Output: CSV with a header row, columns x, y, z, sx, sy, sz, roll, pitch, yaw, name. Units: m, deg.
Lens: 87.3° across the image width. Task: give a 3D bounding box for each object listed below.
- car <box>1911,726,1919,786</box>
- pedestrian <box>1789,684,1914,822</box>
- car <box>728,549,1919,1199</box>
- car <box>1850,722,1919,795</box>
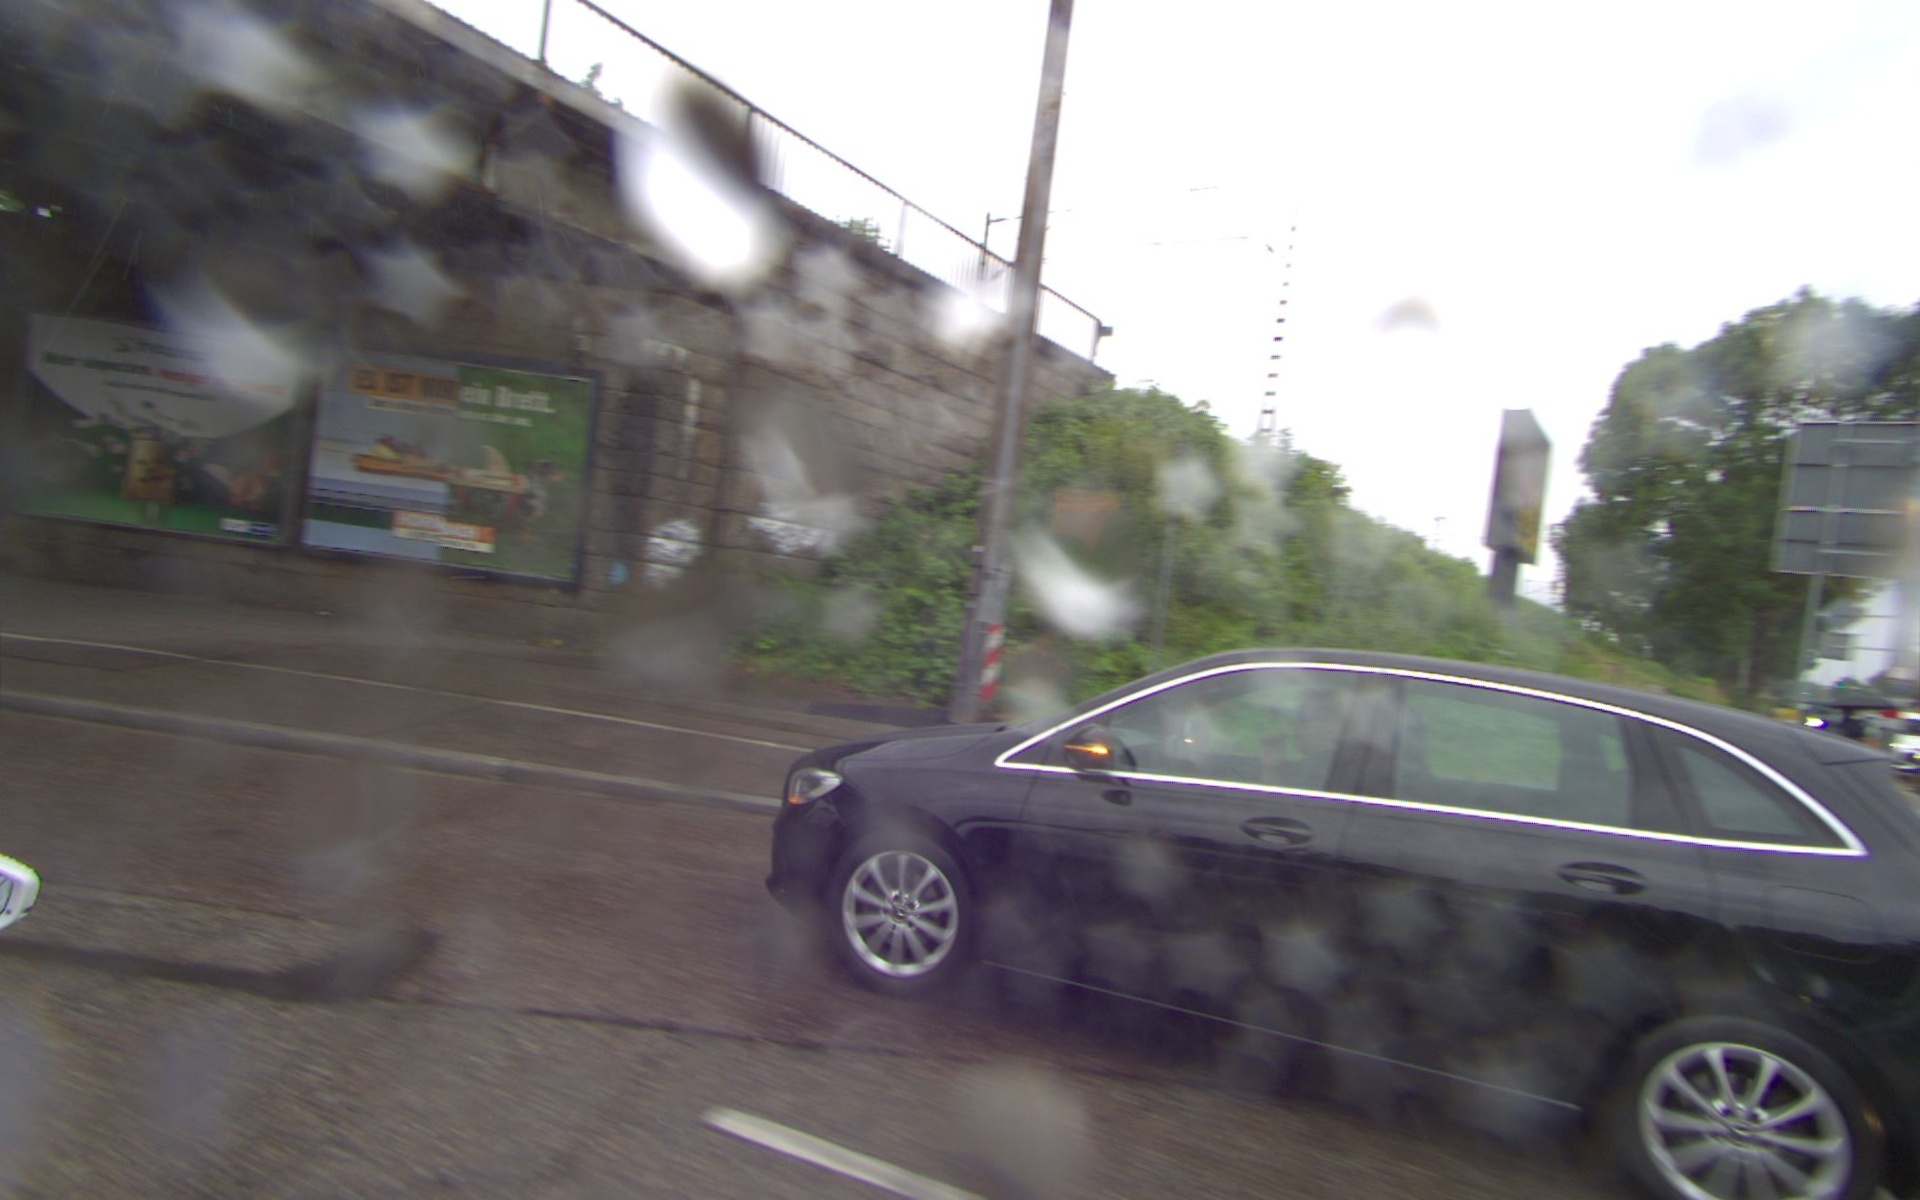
x,y,z,sx,sy,sz,roll,pitch,yaw,name
21.505,3.487,20.820,1.868,1.366,3.987,8,1,34,car
12.825,2.170,14.522,0.988,1.741,0.818,8,2,29,pedestrian
1.323,0.842,4.088,4.014,1.543,1.874,8,1,26,car
24.746,4.141,26.068,1.803,1.501,3.988,8,1,34,car
